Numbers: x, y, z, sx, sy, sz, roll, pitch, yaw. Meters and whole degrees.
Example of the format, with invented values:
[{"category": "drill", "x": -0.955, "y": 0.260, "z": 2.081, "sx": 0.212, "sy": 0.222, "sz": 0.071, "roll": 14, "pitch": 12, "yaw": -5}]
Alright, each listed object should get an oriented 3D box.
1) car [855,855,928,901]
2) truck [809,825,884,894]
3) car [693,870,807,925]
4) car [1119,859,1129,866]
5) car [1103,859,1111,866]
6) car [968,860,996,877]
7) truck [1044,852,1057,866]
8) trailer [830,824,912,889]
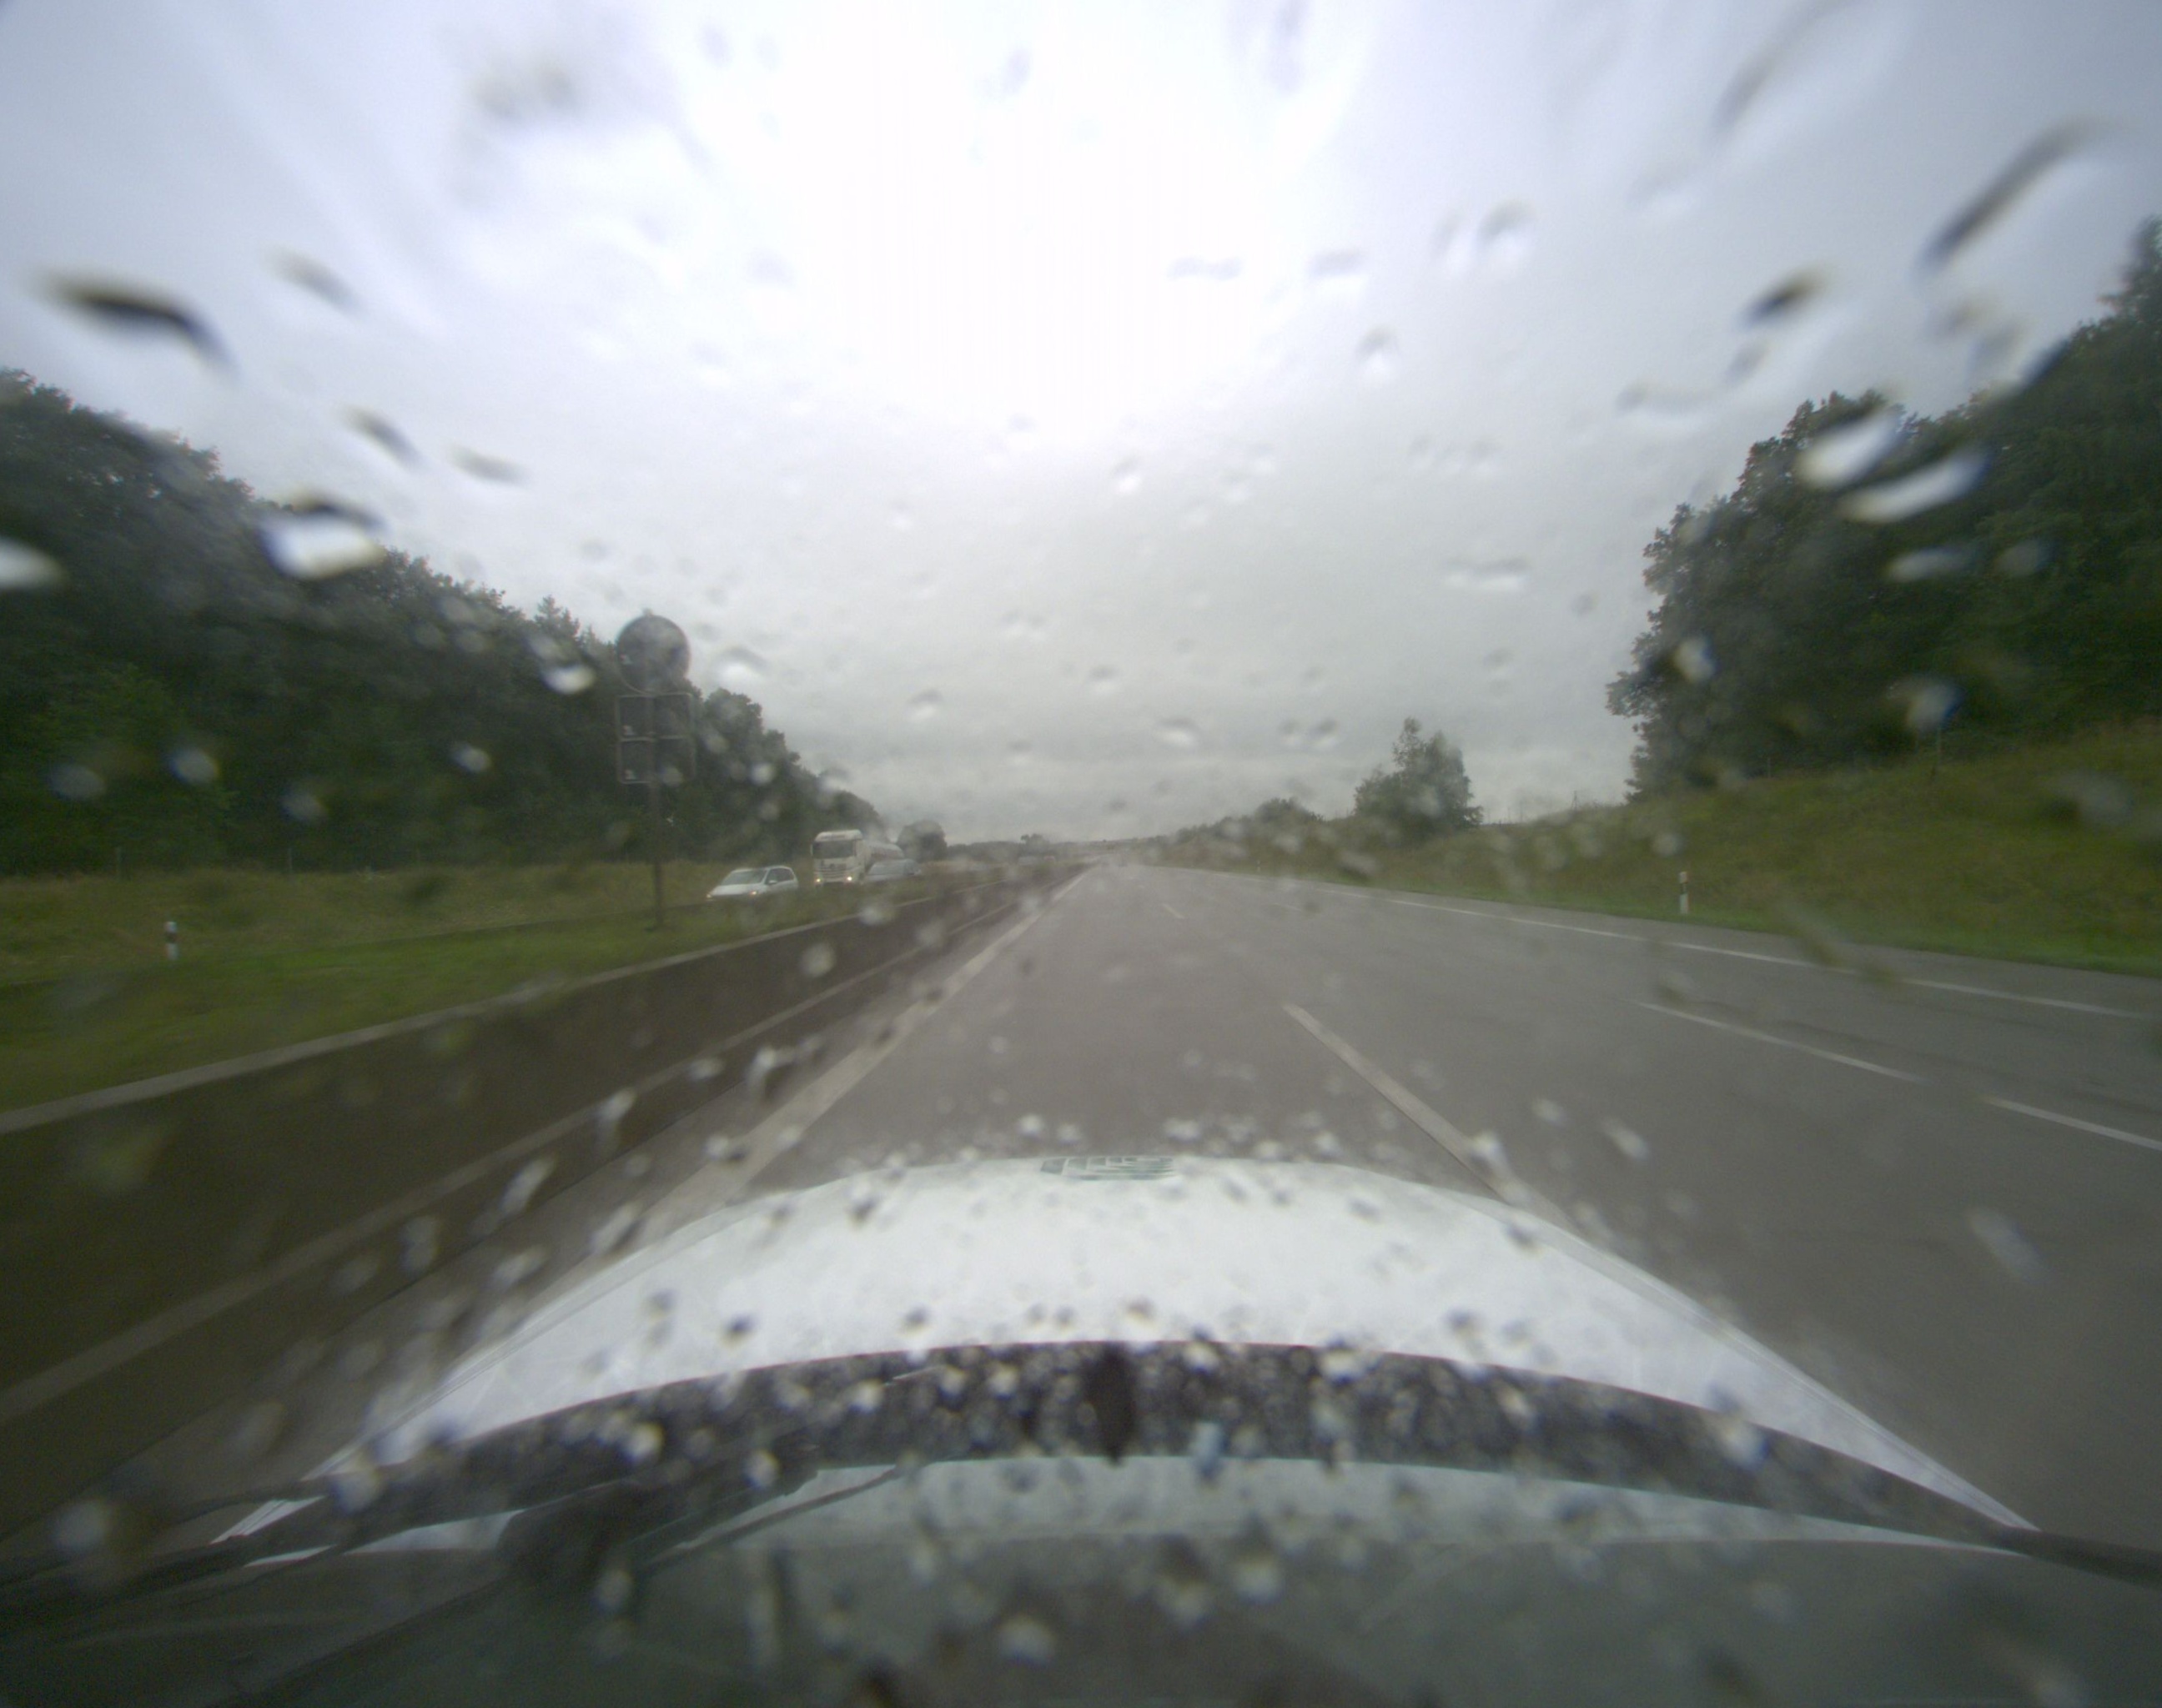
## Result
[{"category": "car", "x": -7.684, "y": 0.906, "z": 33.488, "sx": 1.777, "sy": 1.687, "sz": 4.561, "roll": -2, "pitch": 0, "yaw": 1}, {"category": "truck", "x": -14.273, "y": 0.262, "z": 50.090, "sx": 2.656, "sy": 3.874, "sz": 6.434, "roll": -2, "pitch": 1, "yaw": -1}, {"category": "car", "x": -11.301, "y": 1.436, "z": 28.205, "sx": 1.986, "sy": 1.627, "sz": 4.560, "roll": -2, "pitch": 0, "yaw": 1}, {"category": "car", "x": 9.045, "y": 1.890, "z": 171.979, "sx": 1.842, "sy": 1.331, "sz": 4.429, "roll": -1, "pitch": 1, "yaw": 0}, {"category": "car", "x": 5.746, "y": 1.936, "z": 181.768, "sx": 1.722, "sy": 1.331, "sz": 4.432, "roll": -1, "pitch": 1, "yaw": 2}, {"category": "car", "x": -9.374, "y": 1.364, "z": 77.452, "sx": 1.986, "sy": 1.543, "sz": 4.561, "roll": -2, "pitch": 0, "yaw": 1}, {"category": "truck", "x": -8.823, "y": 1.508, "z": 238.884, "sx": 2.892, "sy": 3.856, "sz": 12.454, "roll": -2, "pitch": 0, "yaw": 1}, {"category": "trailer", "x": -14.267, "y": 0.145, "z": 56.350, "sx": 2.656, "sy": 3.971, "sz": 11.134, "roll": -2, "pitch": 0, "yaw": 0}]
